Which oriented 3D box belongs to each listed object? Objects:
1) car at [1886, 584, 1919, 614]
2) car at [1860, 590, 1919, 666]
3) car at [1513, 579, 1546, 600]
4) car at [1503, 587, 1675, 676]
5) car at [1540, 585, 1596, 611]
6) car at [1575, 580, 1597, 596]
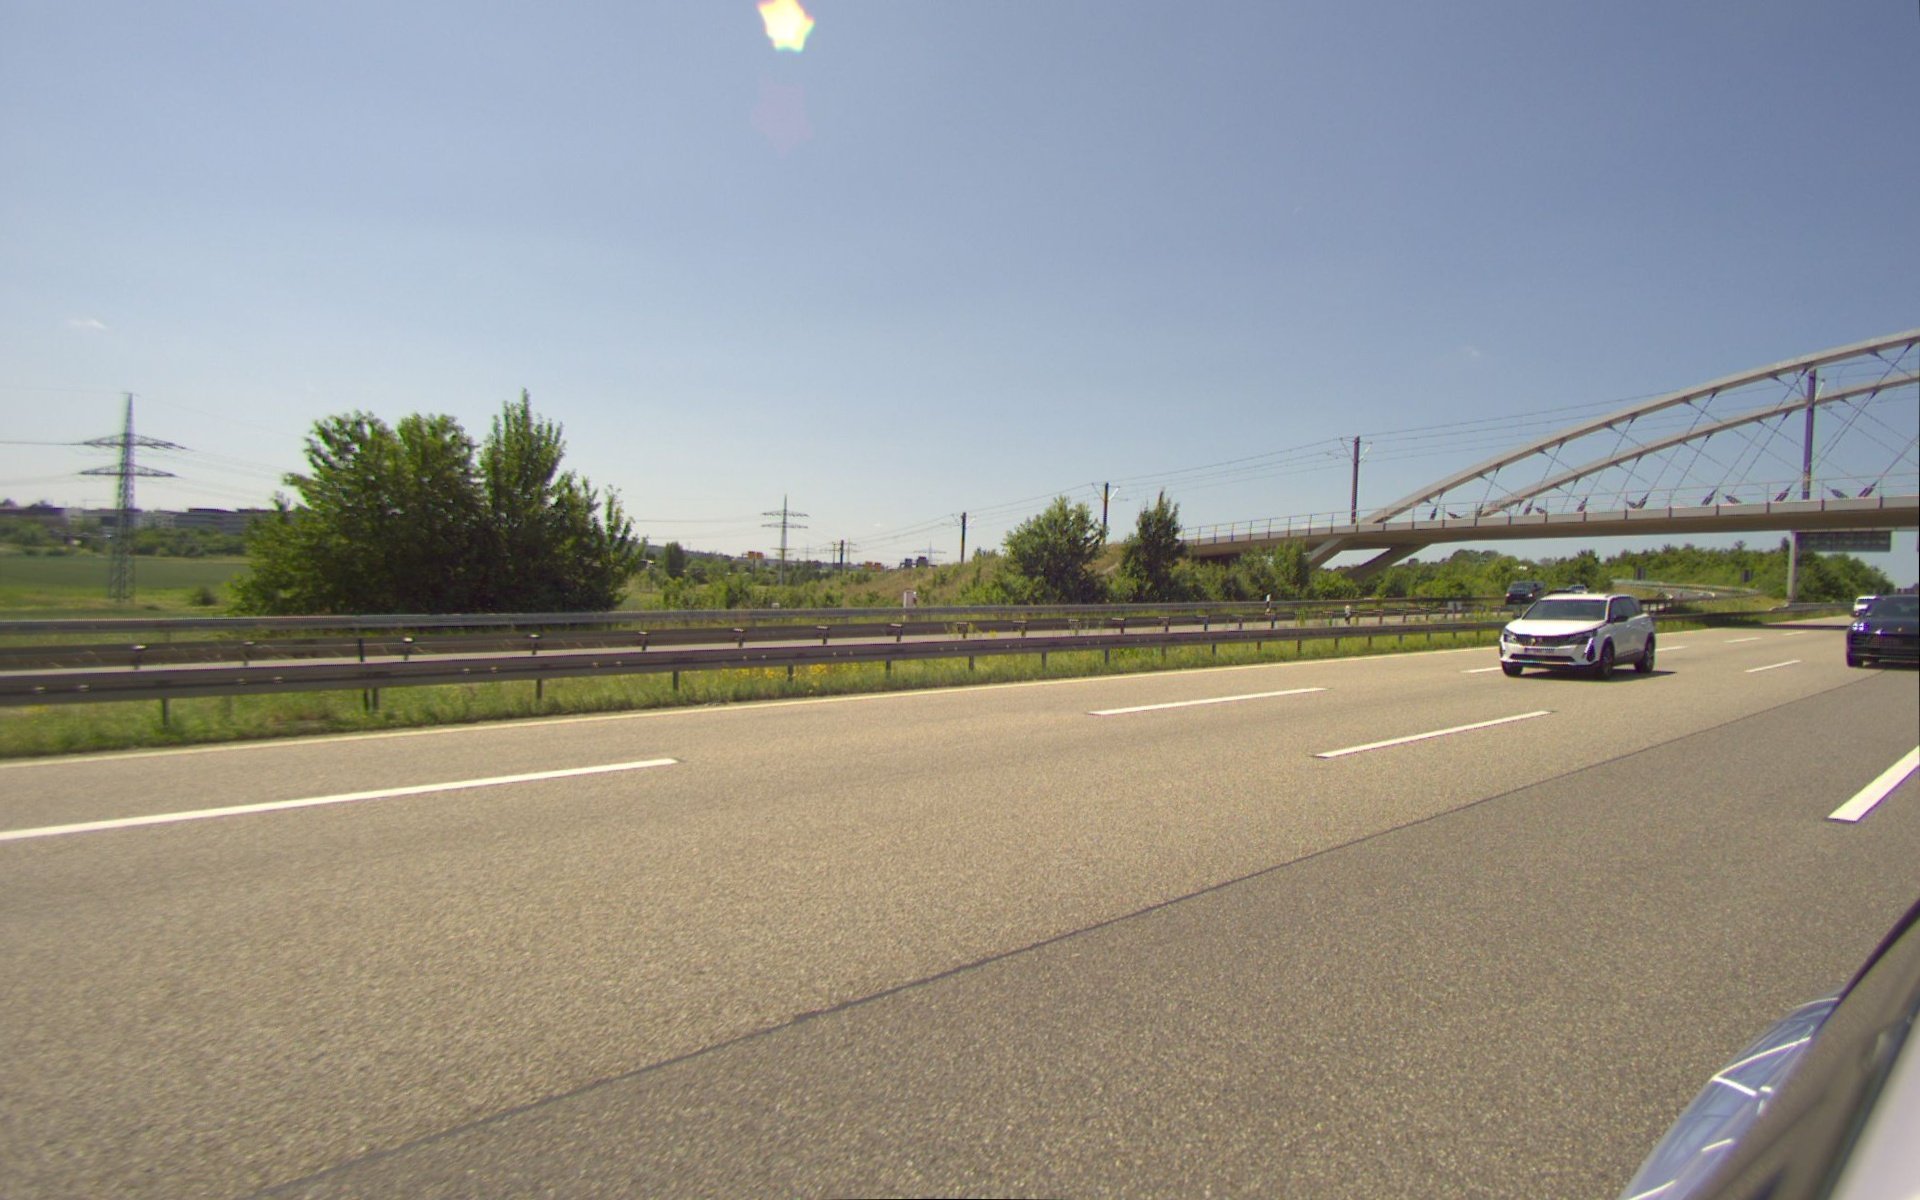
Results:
[{"bbox_3d":[63.856,-0.089,68.415,1.803,1.943,4.229,-1,0,43],"label":"car"},{"bbox_3d":[21.791,0.581,22.853,4.064,1.615,1.927,-1,0,-45],"label":"car"},{"bbox_3d":[42.861,-0.785,76.129,1.695,1.595,4.073,-1,0,37],"label":"car"},{"bbox_3d":[12.817,0.549,20.496,4.540,1.611,1.746,-1,0,-42],"label":"car"},{"bbox_3d":[37.939,-0.128,63.099,4.061,1.615,1.929,-1,0,-42],"label":"car"},{"bbox_3d":[63.463,-1.209,102.663,1.690,1.595,4.086,0,0,29],"label":"car"}]
